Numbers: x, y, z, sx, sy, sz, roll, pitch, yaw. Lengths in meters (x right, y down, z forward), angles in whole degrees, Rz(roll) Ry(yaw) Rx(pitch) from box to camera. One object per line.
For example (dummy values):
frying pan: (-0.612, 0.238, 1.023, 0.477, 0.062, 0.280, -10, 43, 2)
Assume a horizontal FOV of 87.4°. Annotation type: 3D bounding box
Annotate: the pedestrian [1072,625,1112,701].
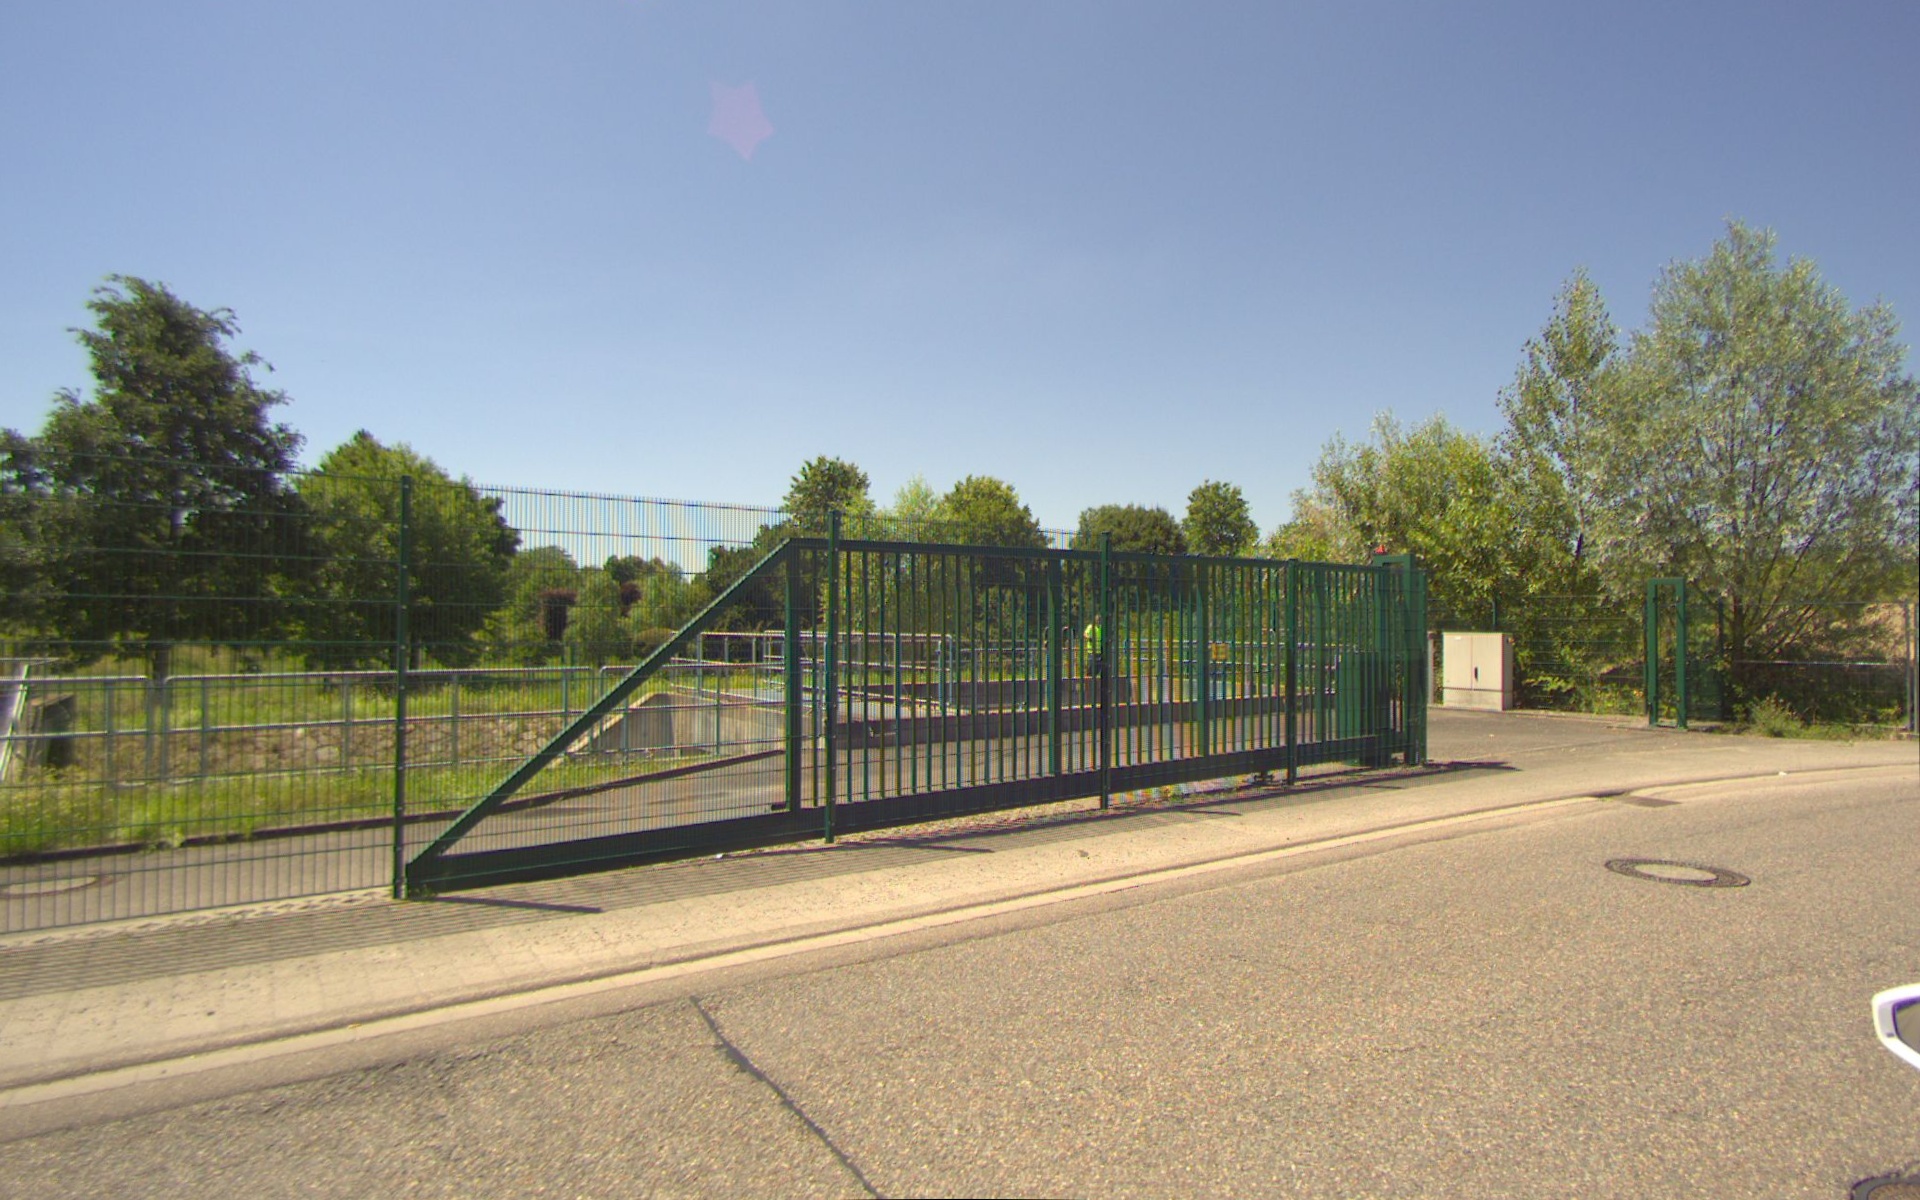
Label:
pedestrian: (3.315, 1.564, 25.164, 0.797, 1.863, 0.601, 2, -2, -37)
